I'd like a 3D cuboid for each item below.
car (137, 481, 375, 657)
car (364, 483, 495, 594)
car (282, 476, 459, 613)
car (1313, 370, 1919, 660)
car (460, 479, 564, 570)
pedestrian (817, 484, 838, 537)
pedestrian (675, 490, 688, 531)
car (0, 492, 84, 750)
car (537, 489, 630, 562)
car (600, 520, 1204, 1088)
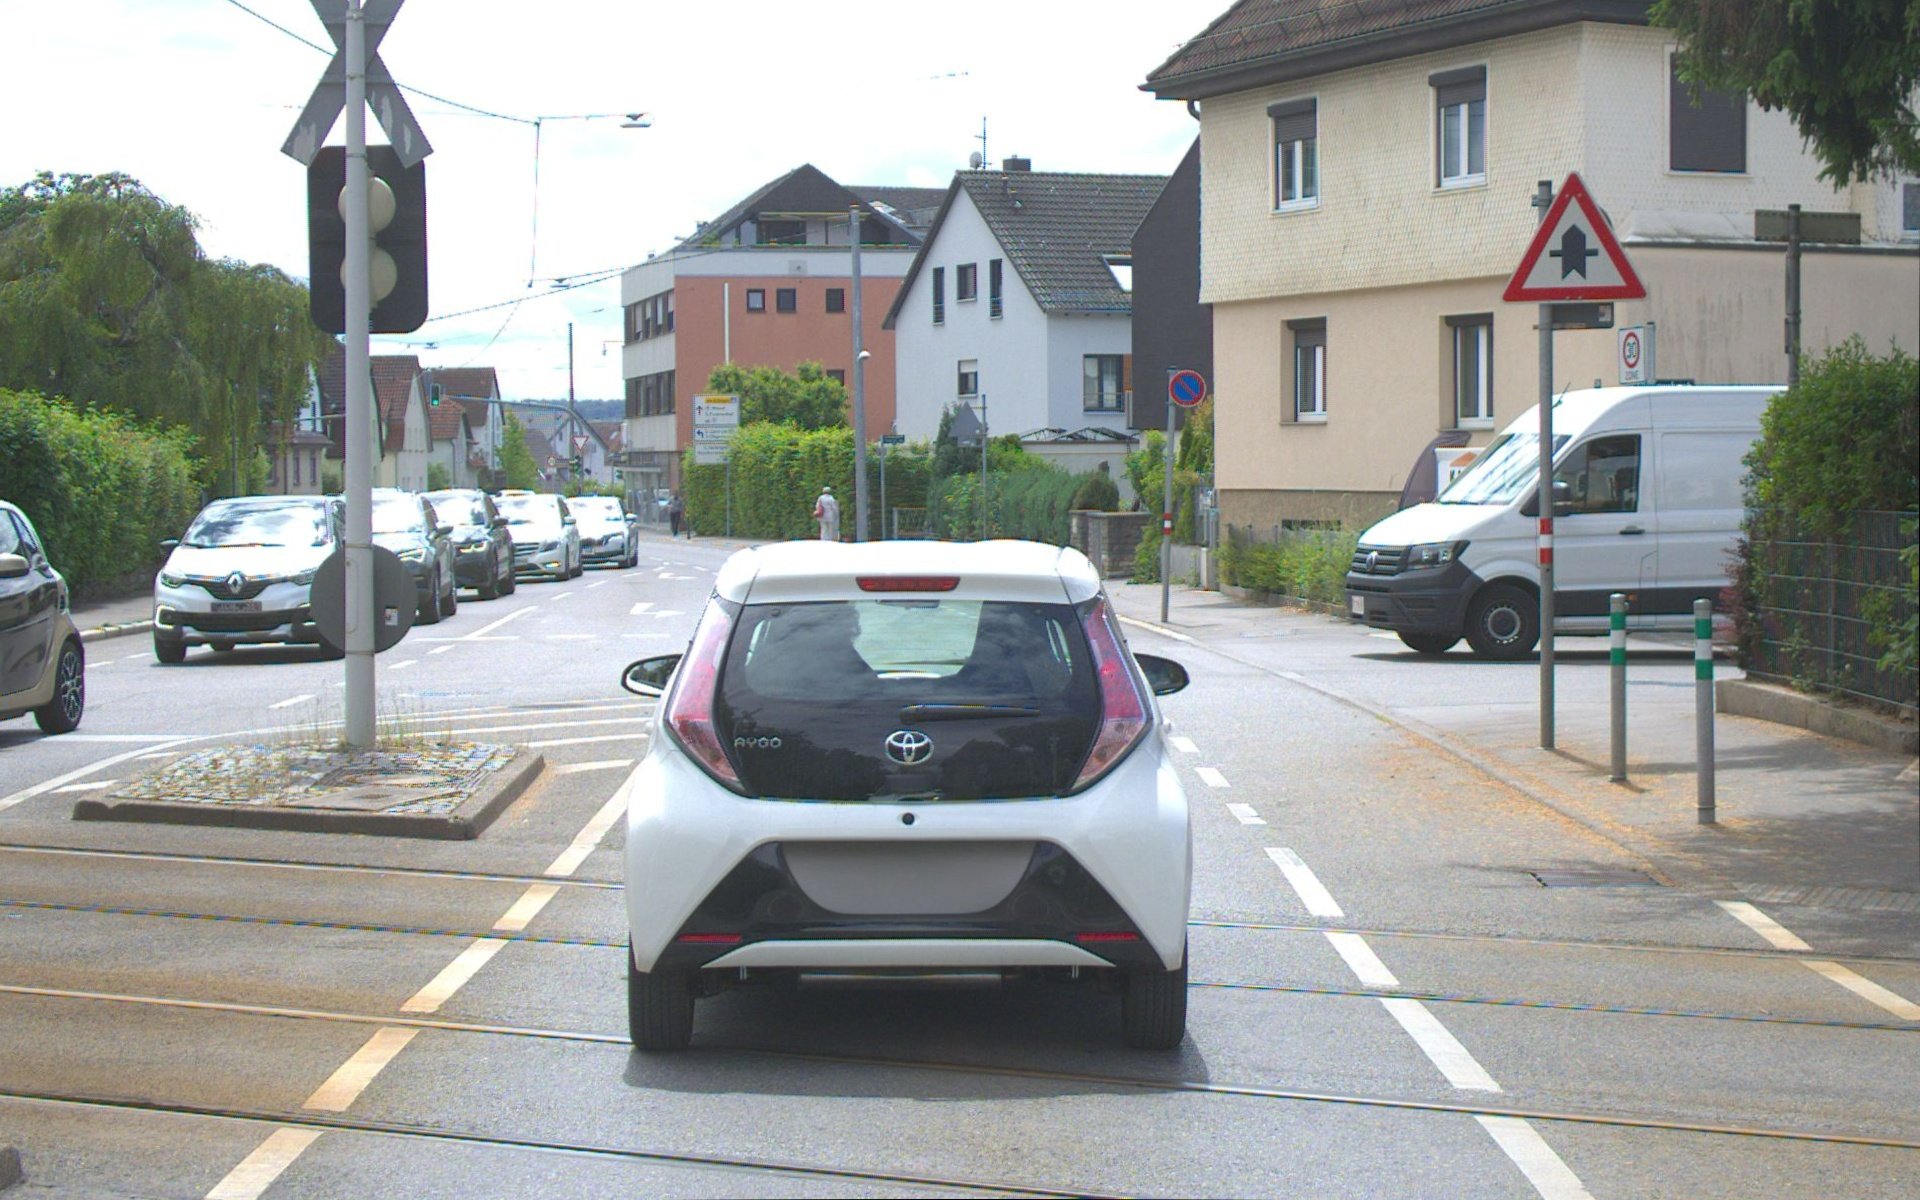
[{"bbox_3d":[-6.760,-0.345,33.379,1.774,1.597,4.040,0,2,-5],"label":"car"},{"bbox_3d":[-7.976,-0.956,51.935,1.774,1.597,4.170,0,2,-6],"label":"car"},{"bbox_3d":[-7.185,-0.709,42.198,1.774,1.597,4.040,0,2,-5],"label":"car"},{"bbox_3d":[6.493,-0.829,32.280,5.994,2.572,2.001,-1,3,-16],"label":"car"},{"bbox_3d":[-7.986,-1.370,61.546,1.774,1.556,4.170,0,2,-6],"label":"car"},{"bbox_3d":[-3.585,-2.428,92.949,0.413,1.433,0.437,2,2,24],"label":"pedestrian"},{"bbox_3d":[-9.812,-3.164,121.257,0.413,1.433,0.438,0,2,-10],"label":"pedestrian"},{"bbox_3d":[-6.470,0.109,20.904,1.575,1.504,2.788,0,2,0],"label":"car"},{"bbox_3d":[-7.702,-1.547,70.088,1.774,1.425,4.523,0,2,-8],"label":"car"},{"bbox_3d":[-0.160,0.505,11.269,1.621,1.481,4.001,0,2,0],"label":"car"}]
